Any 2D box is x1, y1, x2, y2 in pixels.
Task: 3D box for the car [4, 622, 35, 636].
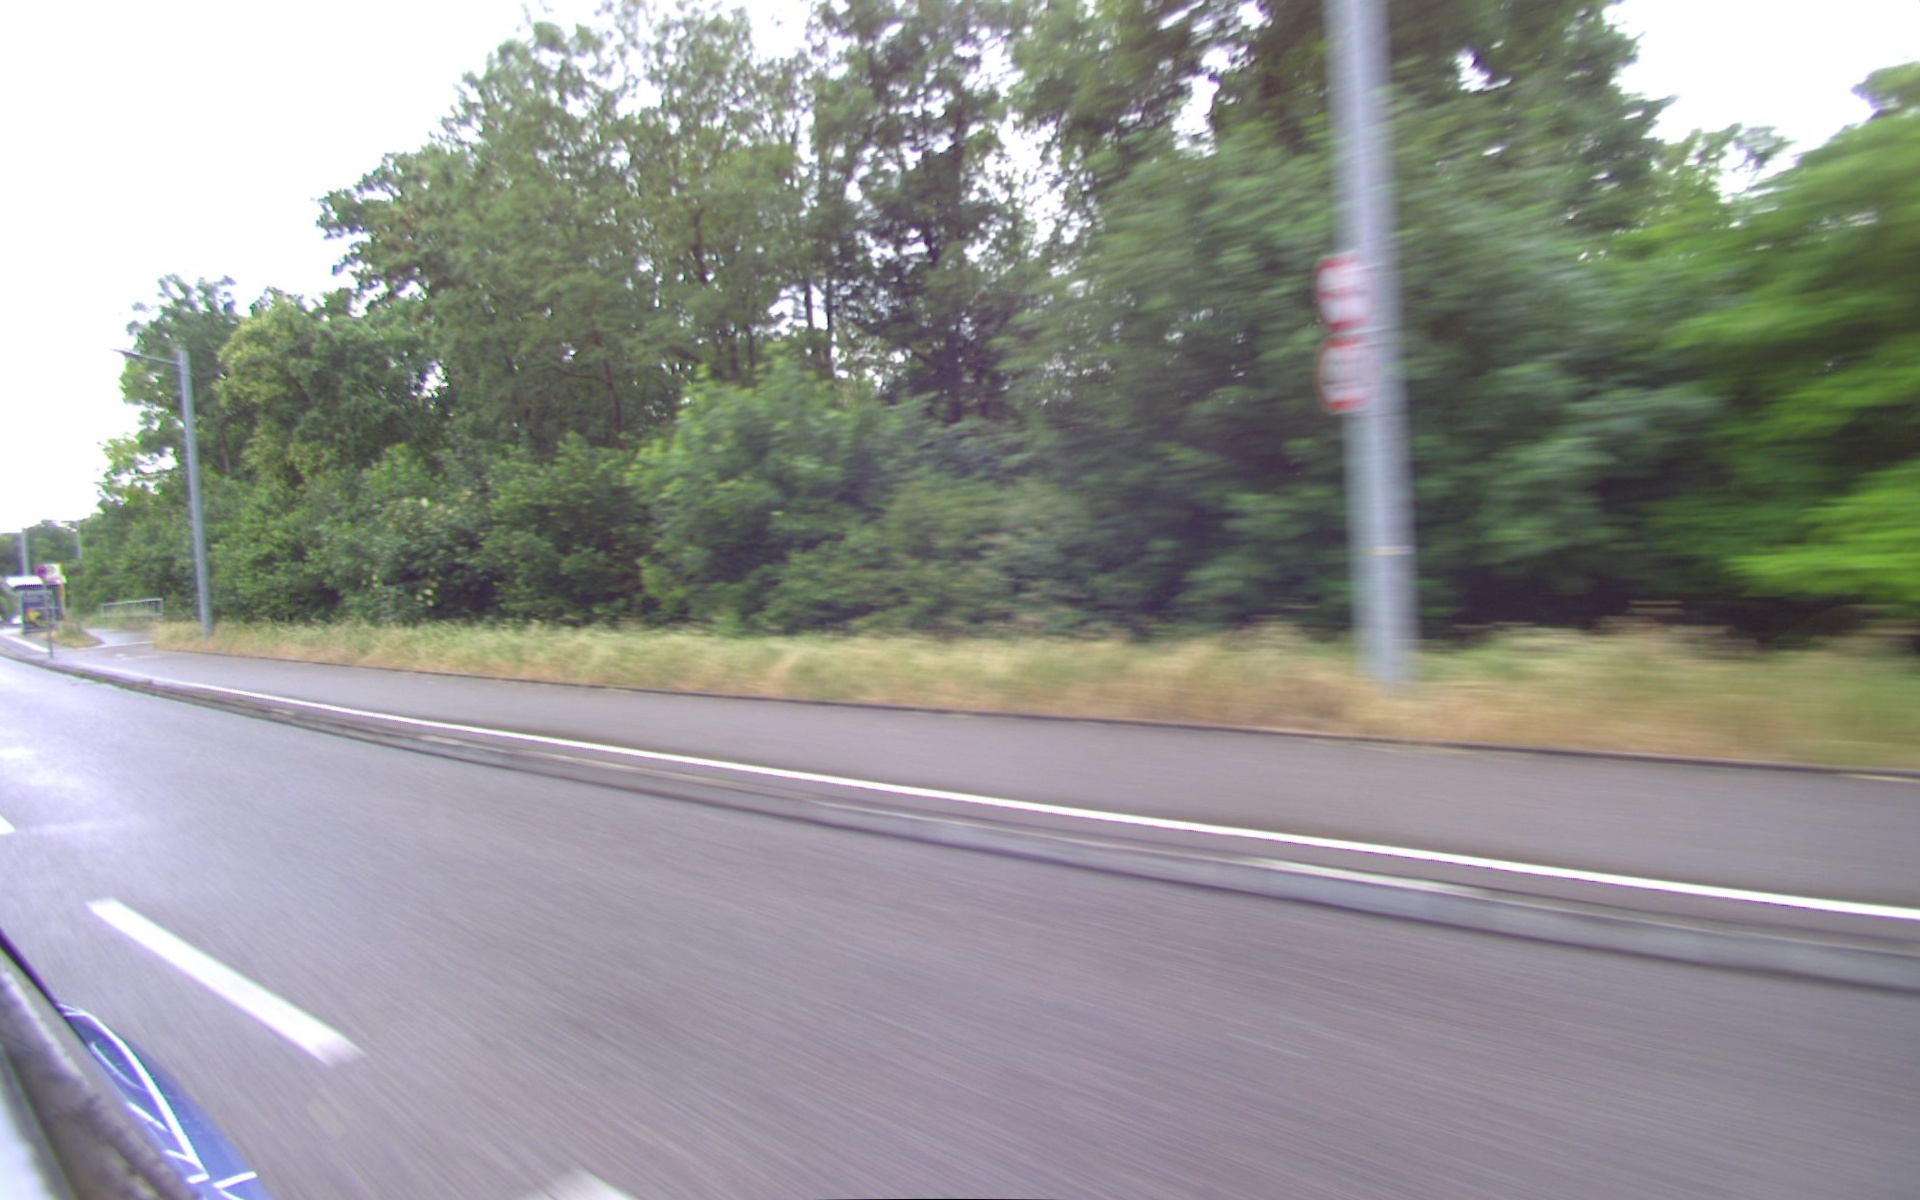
[{"bbox_3d":[-109.519,3.356,117.867,1.788,1.408,4.115,-3,2,-32],"label":"car"}]
